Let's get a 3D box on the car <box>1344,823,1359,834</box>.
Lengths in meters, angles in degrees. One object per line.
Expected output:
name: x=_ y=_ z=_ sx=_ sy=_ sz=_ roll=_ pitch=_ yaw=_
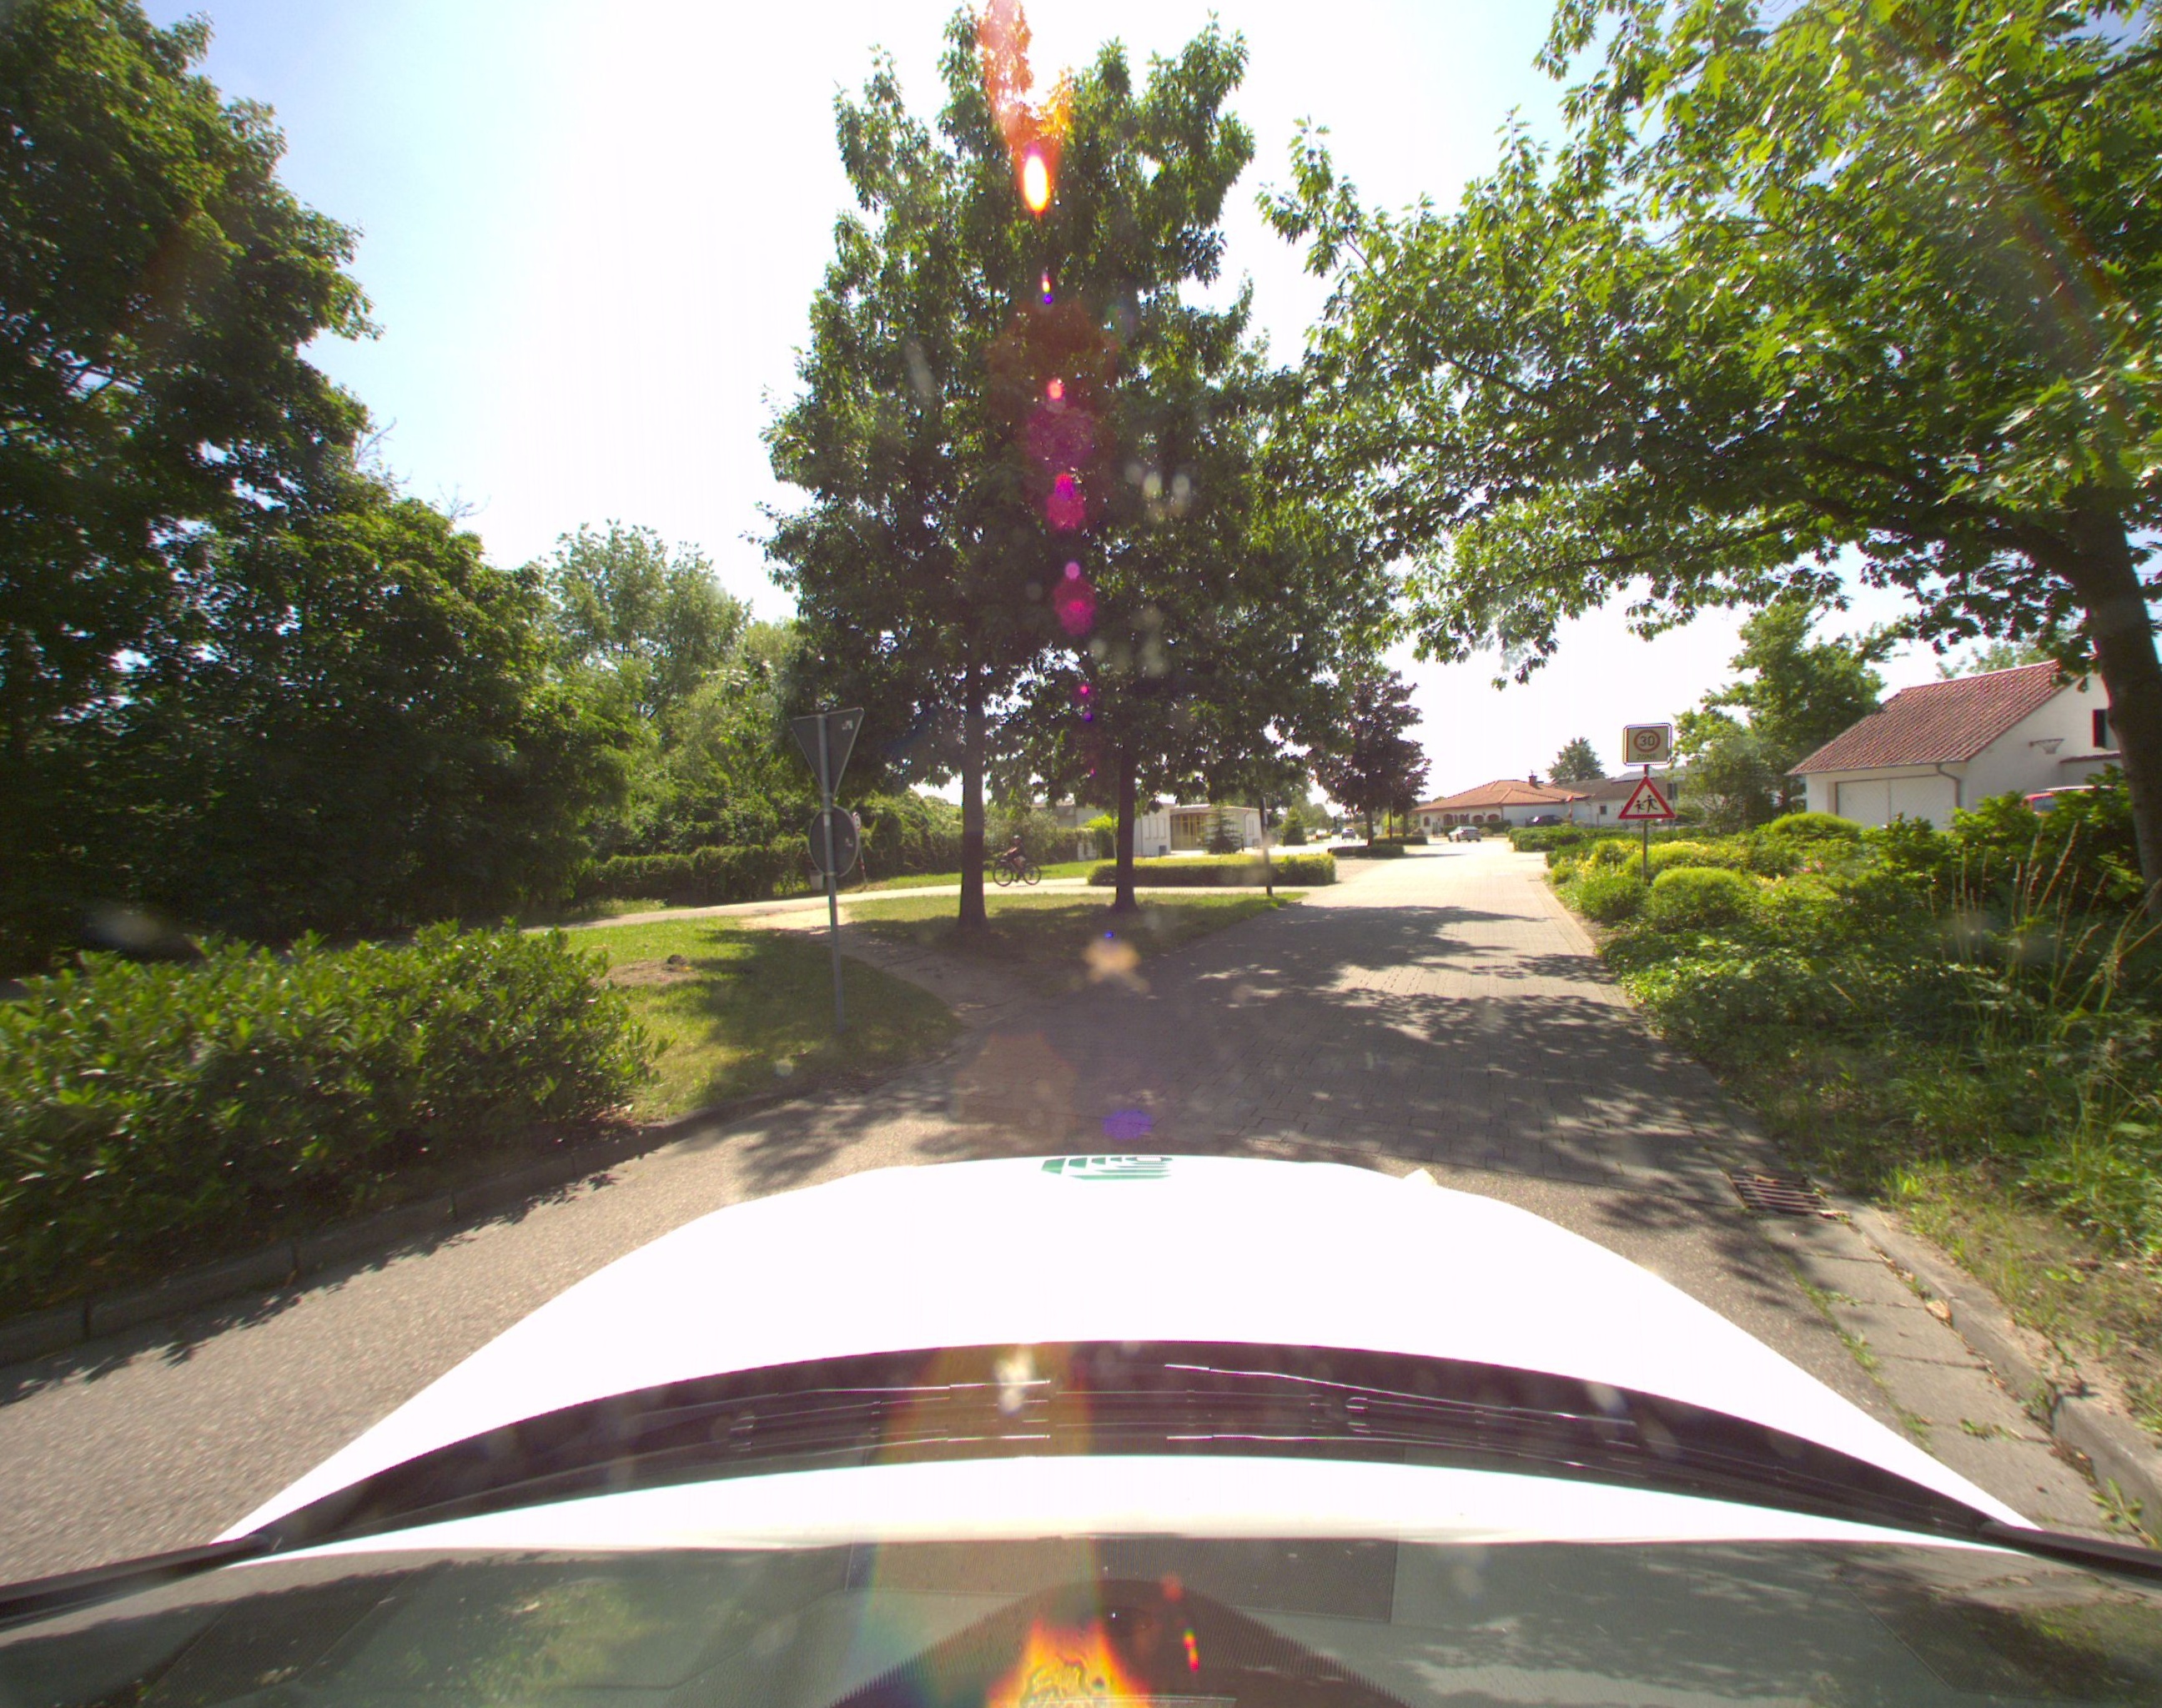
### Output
car: x=34.066 y=-3.197 z=102.497 sx=1.600 sy=1.288 sz=3.576 roll=-2 pitch=1 yaw=21

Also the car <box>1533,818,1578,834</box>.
car: x=48.310 y=-2.849 z=82.921 sx=3.833 sy=1.542 sz=1.844 roll=-2 pitch=1 yaw=-17

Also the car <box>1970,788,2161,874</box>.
car: x=20.947 y=-0.477 z=16.374 sx=1.656 sy=1.601 sz=4.024 roll=-2 pitch=1 yaw=-2

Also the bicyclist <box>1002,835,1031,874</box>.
bicyclist: x=-1.985 y=0.026 z=25.045 sx=0.651 sy=1.164 sz=0.592 roll=-3 pitch=1 yaw=-35

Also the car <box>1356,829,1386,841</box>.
car: x=34.778 y=-2.229 z=97.629 sx=1.989 sy=1.288 sz=3.995 roll=-2 pitch=1 yaw=-3

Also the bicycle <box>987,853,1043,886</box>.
bicycle: x=-2.014 y=0.466 z=25.018 sx=1.627 sy=0.929 sz=0.592 roll=-3 pitch=1 yaw=-35

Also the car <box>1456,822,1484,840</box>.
car: x=31.247 y=-1.843 z=65.494 sx=1.601 sy=1.288 sz=3.575 roll=-2 pitch=1 yaw=19
